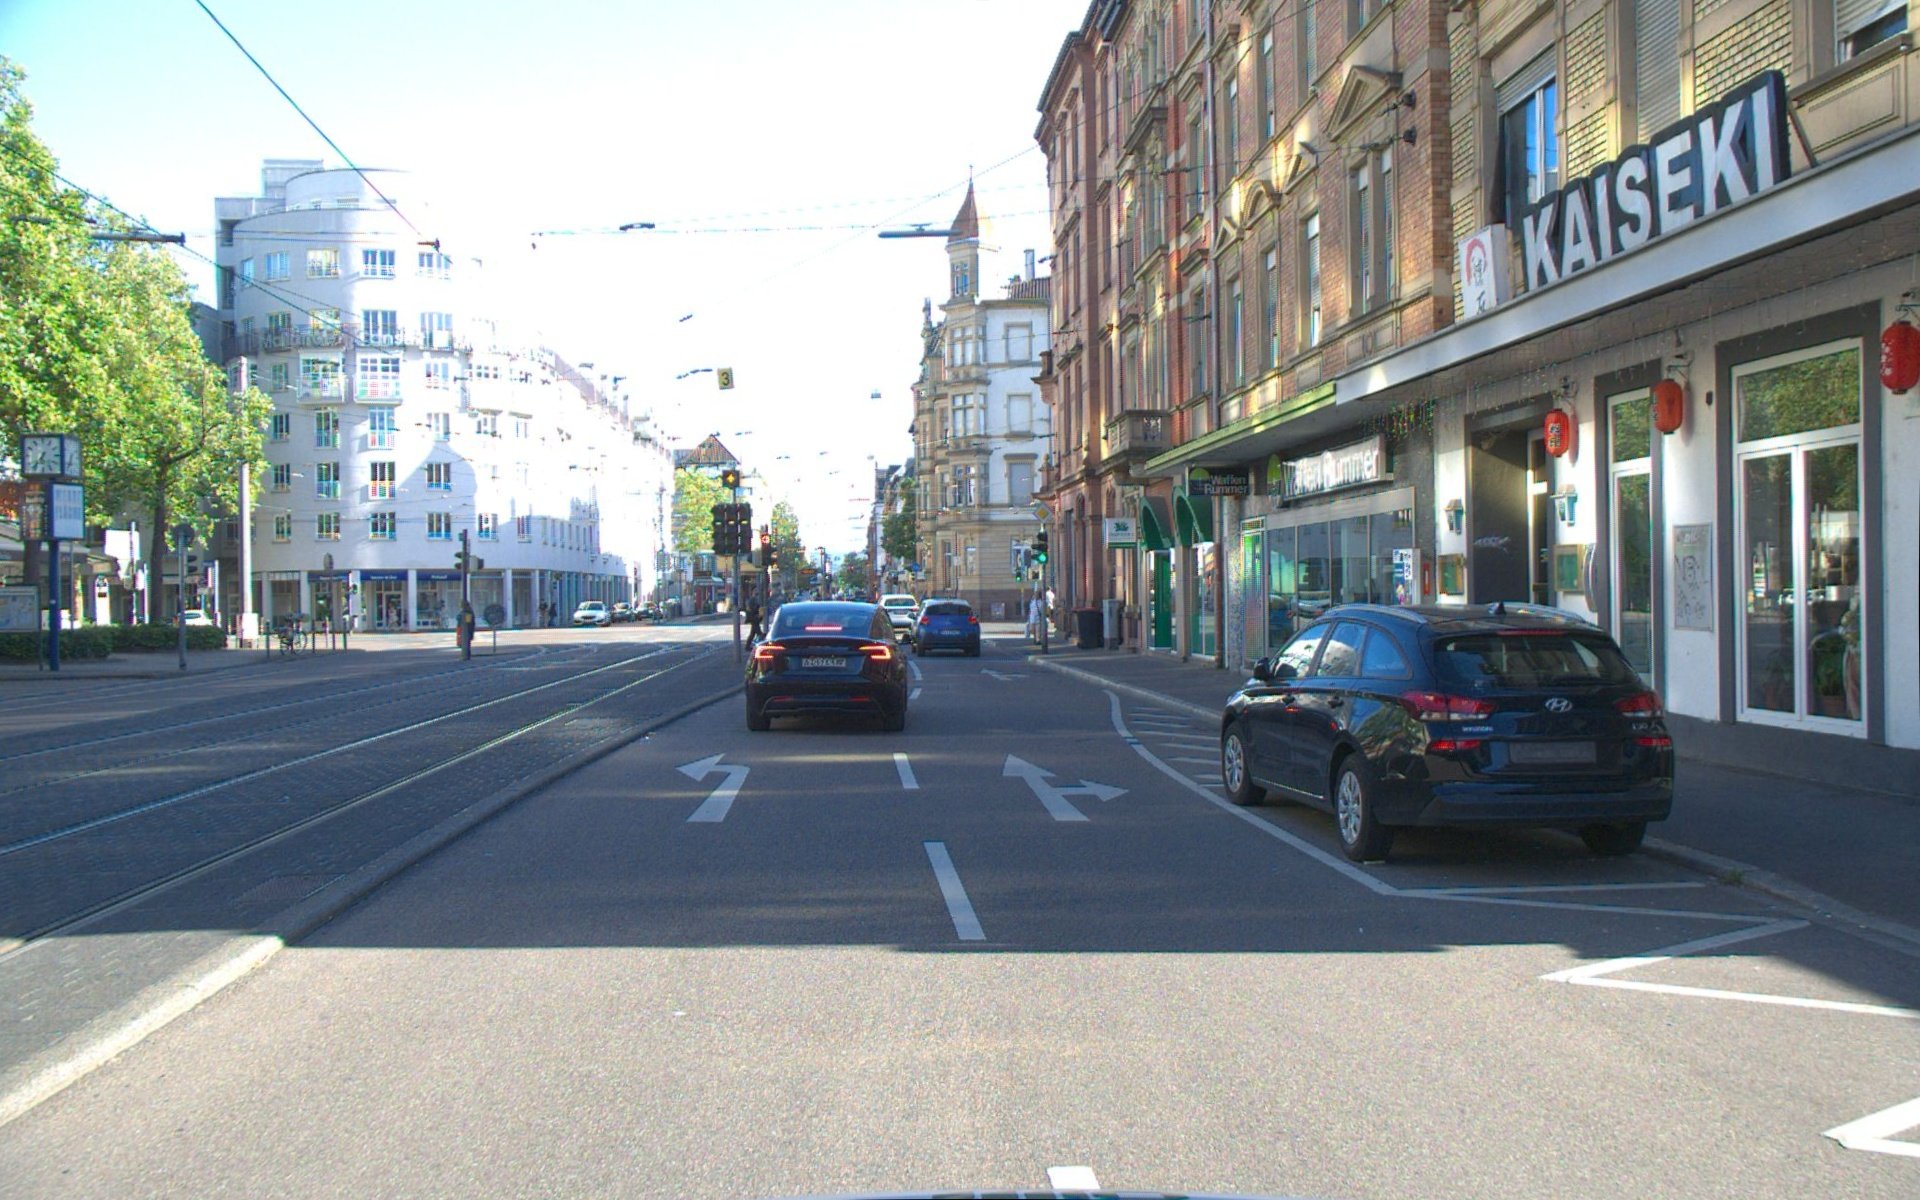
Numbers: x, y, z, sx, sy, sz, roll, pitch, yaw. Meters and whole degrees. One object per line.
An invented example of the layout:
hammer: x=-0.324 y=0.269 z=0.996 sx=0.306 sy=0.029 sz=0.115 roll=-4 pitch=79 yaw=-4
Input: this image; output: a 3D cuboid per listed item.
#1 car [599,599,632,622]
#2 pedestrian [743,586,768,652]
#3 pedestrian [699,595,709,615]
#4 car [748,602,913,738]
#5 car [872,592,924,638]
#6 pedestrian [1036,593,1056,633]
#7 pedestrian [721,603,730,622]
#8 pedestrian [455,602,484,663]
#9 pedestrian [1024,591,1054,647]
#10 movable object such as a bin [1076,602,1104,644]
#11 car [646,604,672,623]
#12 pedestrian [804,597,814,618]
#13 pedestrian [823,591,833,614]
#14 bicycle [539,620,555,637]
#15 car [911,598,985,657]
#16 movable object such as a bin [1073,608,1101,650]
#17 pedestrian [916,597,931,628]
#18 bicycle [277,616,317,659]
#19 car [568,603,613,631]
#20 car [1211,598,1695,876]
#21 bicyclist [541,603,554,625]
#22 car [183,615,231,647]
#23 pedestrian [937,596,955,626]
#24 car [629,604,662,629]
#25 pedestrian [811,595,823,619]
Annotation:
car: x=-25.469 y=0.795 z=122.277 sx=1.955 sy=1.624 sz=3.994 roll=-1 pitch=-1 yaw=-6
pedestrian: x=-5.657 y=0.524 z=45.751 sx=0.547 sy=1.794 sz=0.894 roll=-3 pitch=0 yaw=-4
pedestrian: x=-20.340 y=0.403 z=131.491 sx=0.717 sy=1.554 sz=0.742 roll=-1 pitch=1 yaw=-5
car: x=-1.559 y=0.766 z=19.964 sx=1.775 sy=1.449 sz=4.150 roll=1 pitch=0 yaw=-5
car: x=-2.515 y=0.613 z=66.138 sx=1.954 sy=1.773 sz=3.996 roll=1 pitch=-1 yaw=-4
pedestrian: x=3.669 y=0.553 z=70.590 sx=0.686 sy=1.684 sz=0.632 roll=-2 pitch=-1 yaw=18
pedestrian: x=-20.020 y=1.062 z=141.201 sx=0.717 sy=1.586 sz=0.742 roll=-1 pitch=1 yaw=-5
pedestrian: x=-12.753 y=0.834 z=43.012 sx=0.490 sy=1.544 sz=0.858 roll=-3 pitch=0 yaw=-4
pedestrian: x=2.353 y=0.564 z=49.178 sx=0.669 sy=1.635 sz=0.728 roll=-1 pitch=0 yaw=-15
movable object such as a bin: x=3.585 y=0.623 z=45.595 sx=0.650 sy=1.091 sz=0.545 roll=-4 pitch=0 yaw=-2
car: x=-25.468 y=1.098 z=140.075 sx=1.695 sy=1.541 sz=4.400 roll=-1 pitch=0 yaw=-5
pedestrian: x=-11.809 y=0.583 z=129.079 sx=0.574 sy=1.589 sz=0.468 roll=-1 pitch=0 yaw=32
pedestrian: x=-9.923 y=0.215 z=124.515 sx=0.623 sy=1.727 sz=0.933 roll=0 pitch=-1 yaw=3
bicycle: x=-24.408 y=1.701 z=97.845 sx=0.582 sy=0.989 sz=1.816 roll=-1 pitch=-1 yaw=-4
car: x=-0.367 y=0.701 z=44.294 sx=1.746 sy=1.476 sz=3.651 roll=1 pitch=0 yaw=-4
movable object such as a bin: x=3.451 y=0.791 z=44.998 sx=0.650 sy=1.091 sz=0.590 roll=-4 pitch=0 yaw=-2
pedestrian: x=-2.162 y=0.730 z=98.619 sx=0.765 sy=1.780 sz=1.092 roll=-1 pitch=2 yaw=-7
bicycle: x=-19.922 y=1.106 z=49.757 sx=0.488 sy=1.207 sz=2.232 roll=-1 pitch=0 yaw=-6
car: x=-20.953 y=0.920 z=93.897 sx=1.955 sy=1.477 sz=4.496 roll=-1 pitch=0 yaw=-6
car: x=3.003 y=0.739 z=11.105 sx=1.657 sy=1.476 sz=4.355 roll=1 pitch=0 yaw=-5
bicyclist: x=-24.410 y=0.843 z=97.793 sx=0.577 sy=1.308 sz=0.926 roll=-1 pitch=-1 yaw=-4
car: x=-39.736 y=1.623 z=87.365 sx=1.770 sy=1.427 sz=4.082 roll=-1 pitch=2 yaw=-18
pedestrian: x=-0.812 y=0.639 z=95.751 sx=0.903 sy=1.660 sz=0.942 roll=-1 pitch=-1 yaw=4
car: x=-25.407 y=1.298 z=133.697 sx=2.184 sy=1.944 sz=4.604 roll=-1 pitch=0 yaw=-5
pedestrian: x=-11.173 y=0.540 z=129.326 sx=0.704 sy=1.808 sz=0.564 roll=-1 pitch=0 yaw=32
